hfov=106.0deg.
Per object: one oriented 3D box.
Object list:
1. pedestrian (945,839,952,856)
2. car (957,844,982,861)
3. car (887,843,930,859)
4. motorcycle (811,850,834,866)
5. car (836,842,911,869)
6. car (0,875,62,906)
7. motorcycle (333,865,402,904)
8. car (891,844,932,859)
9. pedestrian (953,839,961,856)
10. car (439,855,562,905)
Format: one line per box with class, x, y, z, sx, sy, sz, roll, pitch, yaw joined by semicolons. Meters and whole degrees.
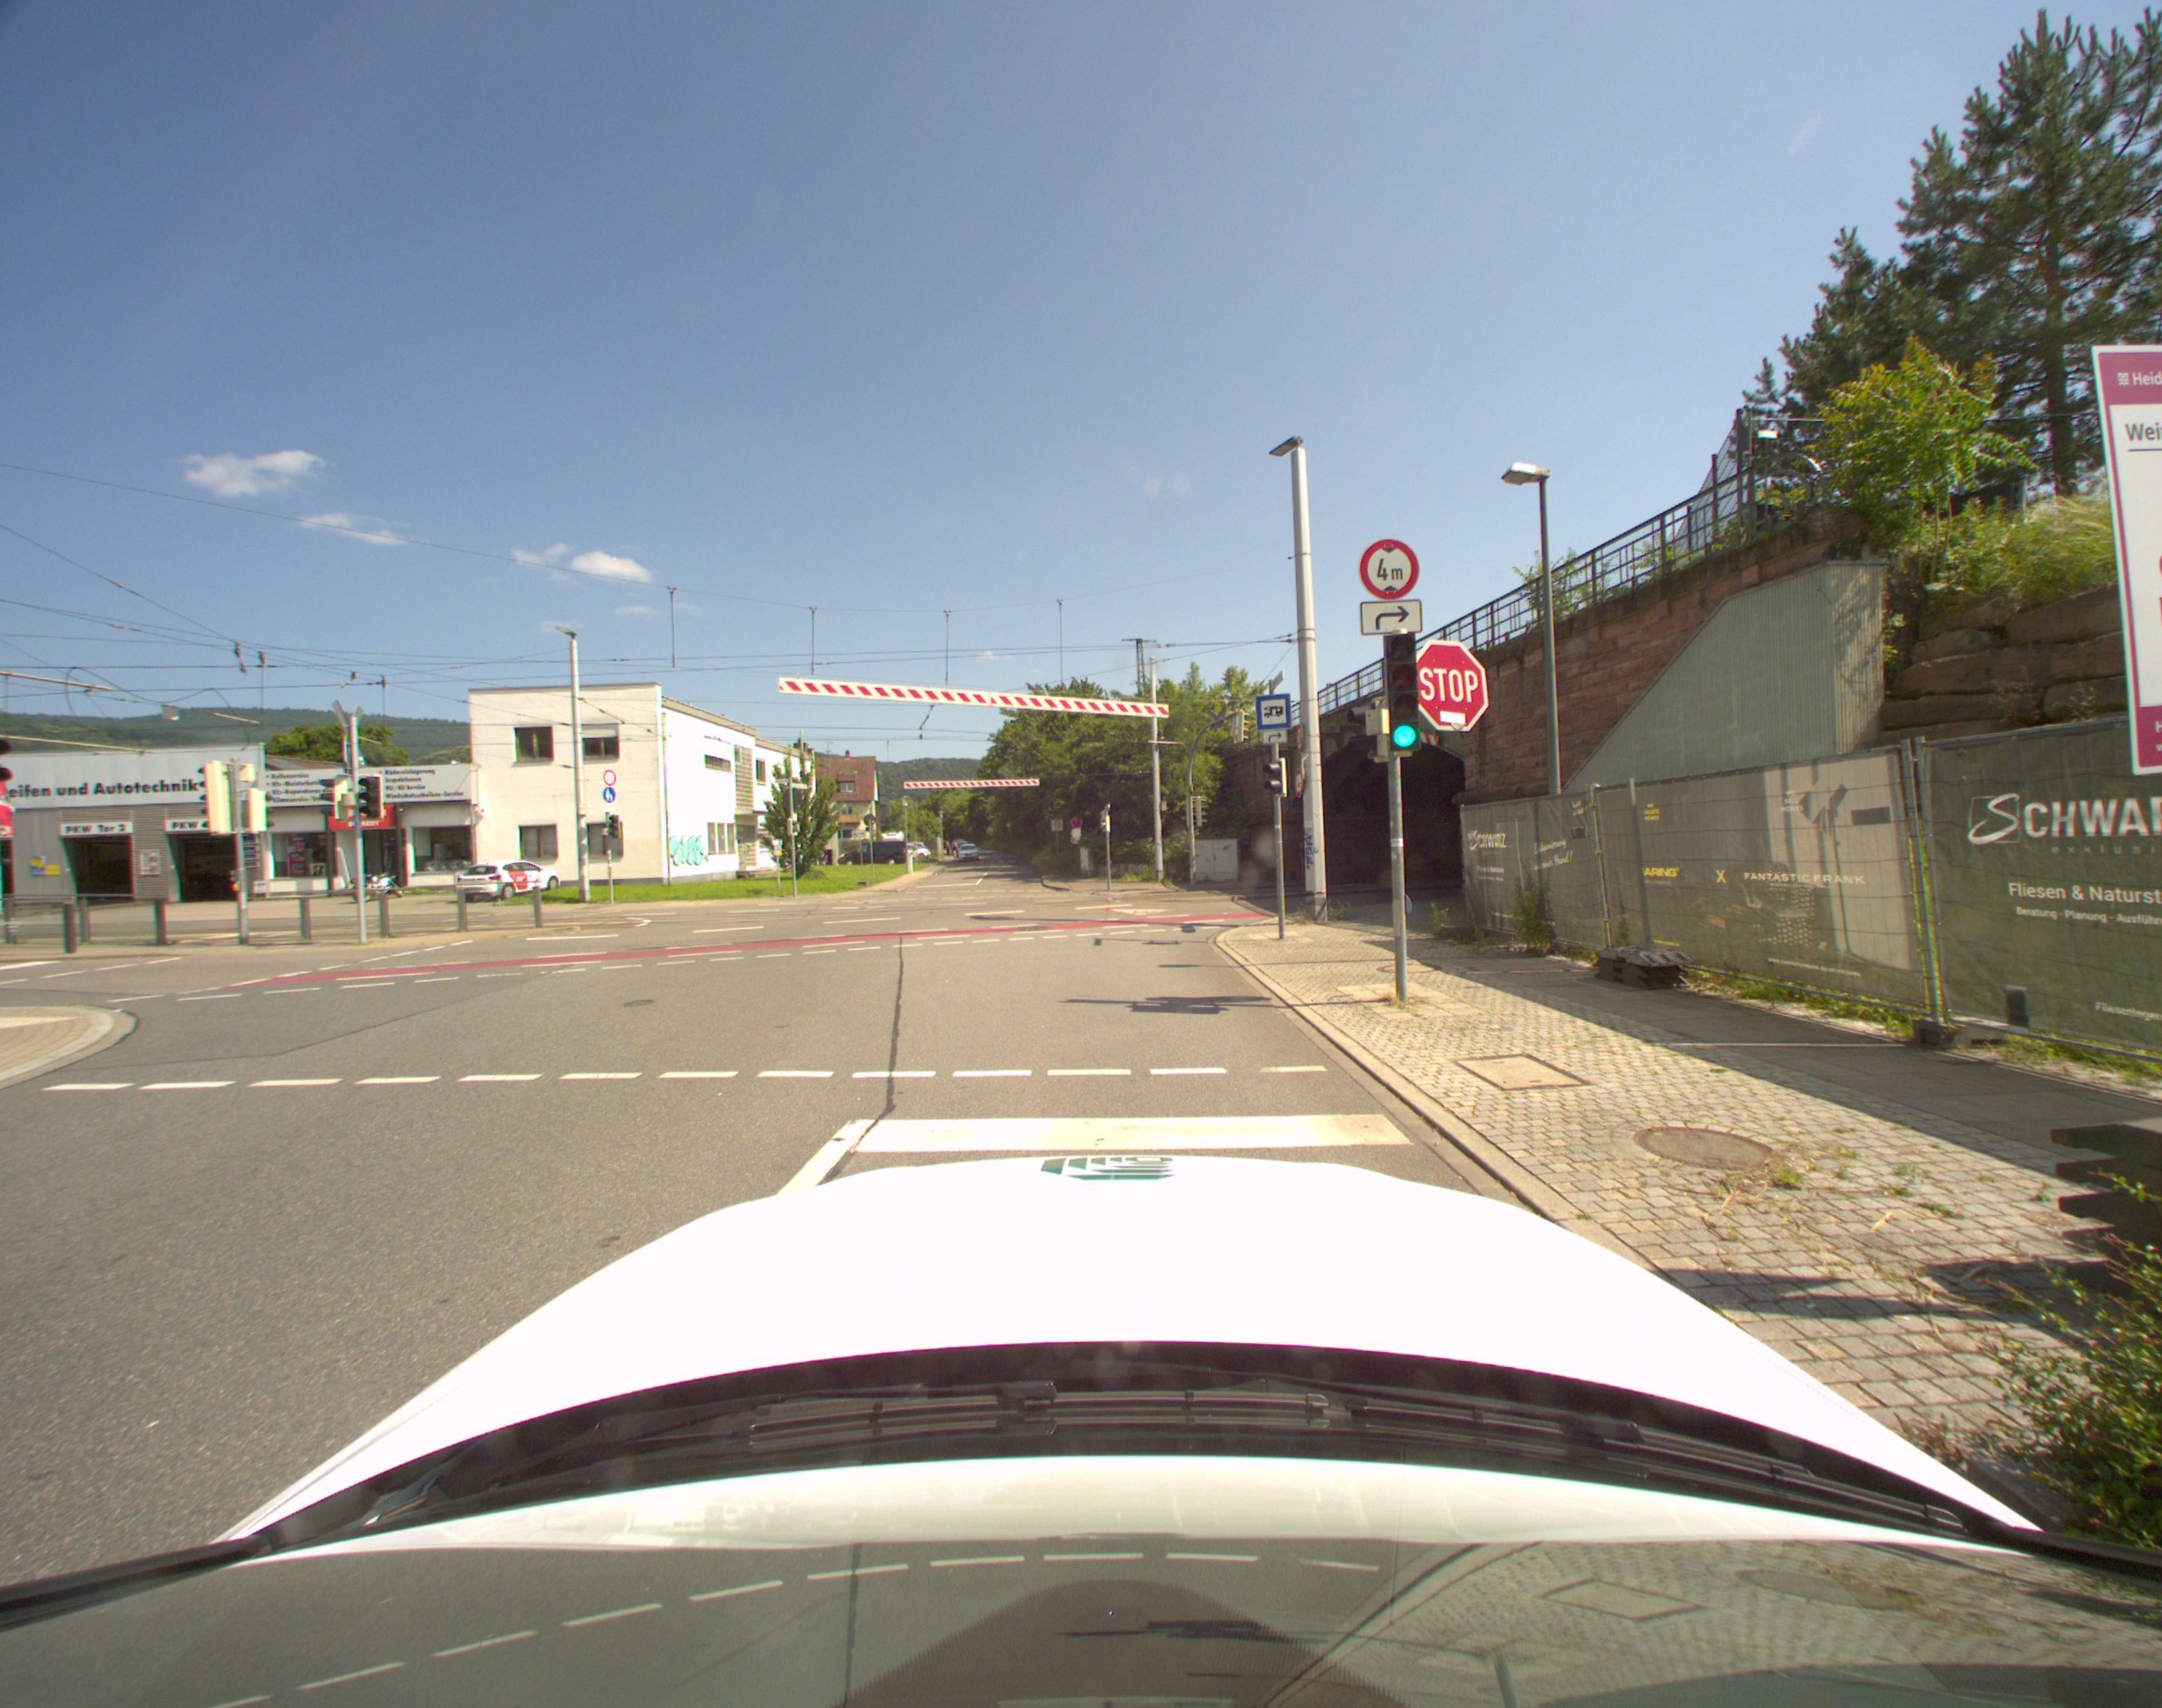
pedestrian;-13.774;-0.680;84.886;0.653;1.763;0.802;0;-1;-7
car;-9.978;-0.150;73.063;2.084;1.510;4.529;0;0;-6
car;-16.075;-0.277;75.890;3.715;1.371;1.601;0;-1;-6
motorcycle;-17.573;0.272;55.372;0.850;1.032;2.564;0;-1;-3
car;-15.639;0.104;61.650;5.245;1.816;1.995;-3;1;-8
car;-52.549;1.826;39.417;1.716;1.376;3.769;-2;1;-4
motorcycle;-28.293;1.185;32.353;0.726;1.308;2.191;-2;4;0
car;-16.262;-0.264;78.316;3.715;1.371;1.601;0;0;-6
pedestrian;-12.925;-0.708;84.842;0.875;1.763;0.729;0;-1;-7
car;-22.645;0.961;32.010;1.878;1.462;4.001;-2;4;-1
